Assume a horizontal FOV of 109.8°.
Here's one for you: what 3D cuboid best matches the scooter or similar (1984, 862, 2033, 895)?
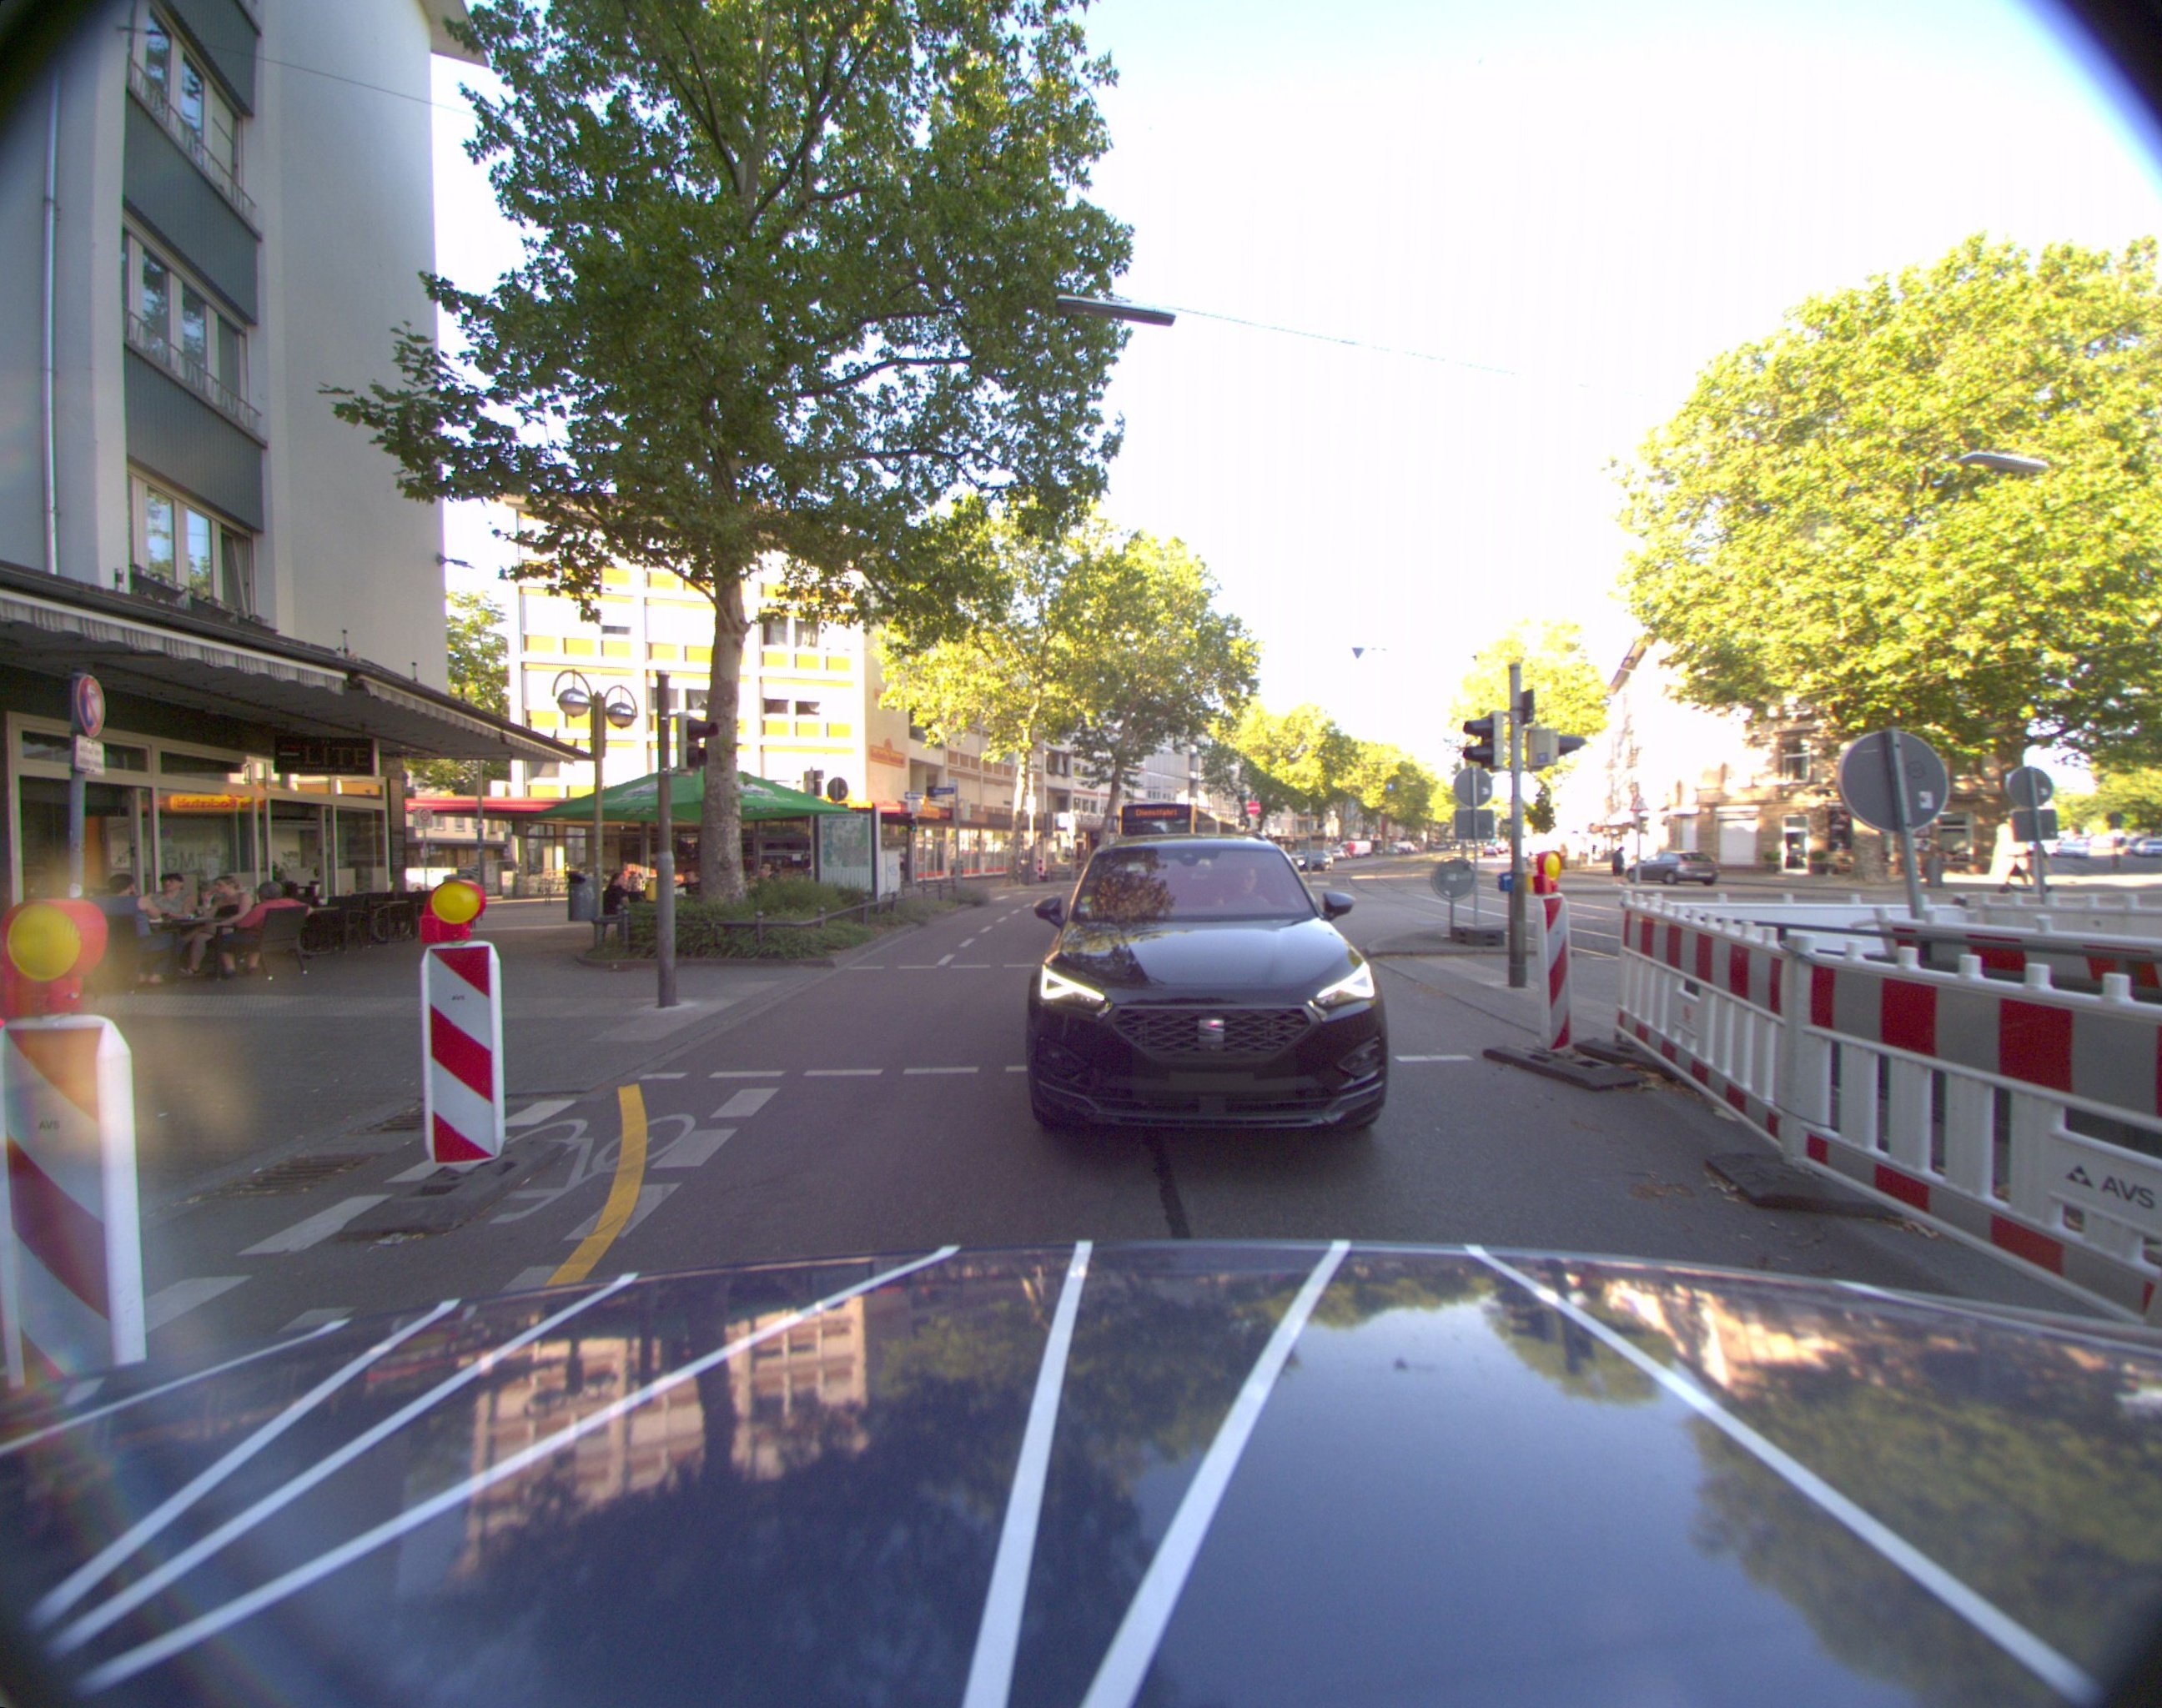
[{"bbox_3d":[29.721,0.780,24.349,0.309,1.033,0.979,-2,1,-40],"label":"scooter or similar"}]

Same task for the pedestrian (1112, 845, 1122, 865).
[{"bbox_3d":[3.013,0.061,63.549,0.658,1.632,0.660,0,1,26],"label":"pedestrian"}]

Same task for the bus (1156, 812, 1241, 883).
[{"bbox_3d":[6.055,-0.335,37.732,2.749,3.085,9.508,0,1,17],"label":"bus"}]

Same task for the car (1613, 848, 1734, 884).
[{"bbox_3d":[25.185,0.477,32.501,1.885,1.401,3.998,-1,1,-4],"label":"car"}]

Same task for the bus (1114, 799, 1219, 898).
[{"bbox_3d":[3.519,-0.225,28.617,2.750,3.085,9.506,0,1,14],"label":"bus"}]

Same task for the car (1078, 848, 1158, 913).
[{"bbox_3d":[1.094,0.625,20.152,1.743,1.492,4.301,-2,0,7],"label":"car"}]

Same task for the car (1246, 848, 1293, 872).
[{"bbox_3d":[13.704,0.386,54.999,1.952,1.541,4.765,0,2,31],"label":"car"}]

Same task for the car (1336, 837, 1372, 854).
[{"bbox_3d":[40.623,-1.307,113.121,4.868,2.362,1.878,-1,2,-10],"label":"car"}]

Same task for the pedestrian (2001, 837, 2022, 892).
[{"bbox_3d":[29.914,0.330,24.431,0.355,1.757,0.418,-2,1,-41],"label":"pedestrian"}]

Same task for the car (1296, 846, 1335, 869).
[{"bbox_3d":[16.654,0.190,53.854,1.952,1.467,4.764,0,2,26],"label":"car"}]

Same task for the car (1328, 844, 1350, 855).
[{"bbox_3d":[35.449,-0.646,104.224,2.627,1.380,1.201,-1,2,3],"label":"car"}]

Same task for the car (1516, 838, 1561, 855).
[{"bbox_3d":[52.199,-0.830,86.703,3.999,1.904,1.998,-1,1,-7],"label":"car"}]

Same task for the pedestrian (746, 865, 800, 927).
[{"bbox_3d":[-6.549,0.884,16.186,0.718,1.278,0.769,-1,1,13],"label":"pedestrian"}]

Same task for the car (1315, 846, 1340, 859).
[{"bbox_3d":[29.780,-0.157,91.857,2.627,1.464,1.201,-1,2,3],"label":"car"}]

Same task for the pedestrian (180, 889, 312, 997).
[{"bbox_3d":[-9.854,1.018,9.001,0.847,1.191,0.649,1,0,-22],"label":"pedestrian"}]

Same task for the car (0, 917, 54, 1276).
[{"bbox_3d":[-5.155,0.991,1.427,1.623,1.457,3.604,2,0,-2],"label":"car"}]

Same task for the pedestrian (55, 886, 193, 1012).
[{"bbox_3d":[-10.226,0.982,8.150,0.651,1.244,0.716,1,0,-24],"label":"pedestrian"}]

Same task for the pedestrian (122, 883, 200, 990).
[{"bbox_3d":[-11.250,0.984,9.293,0.519,1.236,0.553,0,0,34],"label":"pedestrian"}]

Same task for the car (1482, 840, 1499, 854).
[{"bbox_3d":[57.374,-0.970,106.439,1.994,1.856,4.007,0,1,31],"label":"car"}]

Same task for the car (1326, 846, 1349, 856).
[{"bbox_3d":[34.044,-0.391,100.943,2.627,1.274,1.201,-1,2,3],"label":"car"}]

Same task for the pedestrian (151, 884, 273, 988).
[{"bbox_3d":[-10.699,0.984,9.381,0.666,1.211,0.717,0,0,-5],"label":"pedestrian"}]

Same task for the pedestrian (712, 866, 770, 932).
[{"bbox_3d":[-6.816,0.888,15.262,0.718,1.278,0.769,-1,1,14],"label":"pedestrian"}]

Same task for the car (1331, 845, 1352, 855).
[{"bbox_3d":[36.699,-0.615,107.082,2.627,1.338,1.201,-1,2,3],"label":"car"}]

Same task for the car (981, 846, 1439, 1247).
[{"bbox_3d":[0.678,0.802,5.313,1.848,1.648,4.300,-2,0,4],"label":"car"}]

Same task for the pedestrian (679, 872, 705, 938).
[{"bbox_3d":[-7.418,0.960,14.485,0.433,1.212,0.467,1,1,-29],"label":"pedestrian"}]

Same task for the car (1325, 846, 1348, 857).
[{"bbox_3d":[32.895,-0.305,97.842,2.627,1.274,1.201,-1,2,3],"label":"car"}]

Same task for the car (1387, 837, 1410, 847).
[{"bbox_3d":[64.305,-2.466,153.874,4.000,2.002,1.879,-1,1,-8],"label":"car"}]

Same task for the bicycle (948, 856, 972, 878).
[{"bbox_3d":[-6.678,0.699,42.034,0.528,1.136,1.976,0,1,15],"label":"bicycle"}]

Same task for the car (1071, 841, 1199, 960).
[{"bbox_3d":[0.963,0.642,12.788,1.743,1.630,4.300,-2,0,6],"label":"car"}]

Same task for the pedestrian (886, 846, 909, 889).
[{"bbox_3d":[-7.566,0.564,31.378,0.750,1.747,0.901,-1,1,-2],"label":"pedestrian"}]

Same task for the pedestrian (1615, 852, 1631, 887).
[{"bbox_3d":[20.195,0.585,28.309,0.365,1.301,0.402,0,1,18],"label":"pedestrian"}]

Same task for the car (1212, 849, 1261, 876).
[{"bbox_3d":[9.523,0.508,46.284,1.908,1.467,4.425,0,2,26],"label":"car"}]

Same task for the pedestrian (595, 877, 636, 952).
[{"bbox_3d":[-7.841,1.011,12.806,0.469,1.212,0.431,-2,1,-44],"label":"pedestrian"}]

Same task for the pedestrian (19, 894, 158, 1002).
[{"bbox_3d":[-11.093,1.024,8.525,0.718,1.123,0.649,1,0,-24],"label":"pedestrian"}]

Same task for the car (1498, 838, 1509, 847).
[{"bbox_3d":[90.324,-2.521,162.469,1.903,1.893,4.007,0,1,29],"label":"car"}]

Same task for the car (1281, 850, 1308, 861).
[{"bbox_3d":[23.912,0.150,85.026,2.629,1.209,1.200,-1,2,-6],"label":"car"}]
